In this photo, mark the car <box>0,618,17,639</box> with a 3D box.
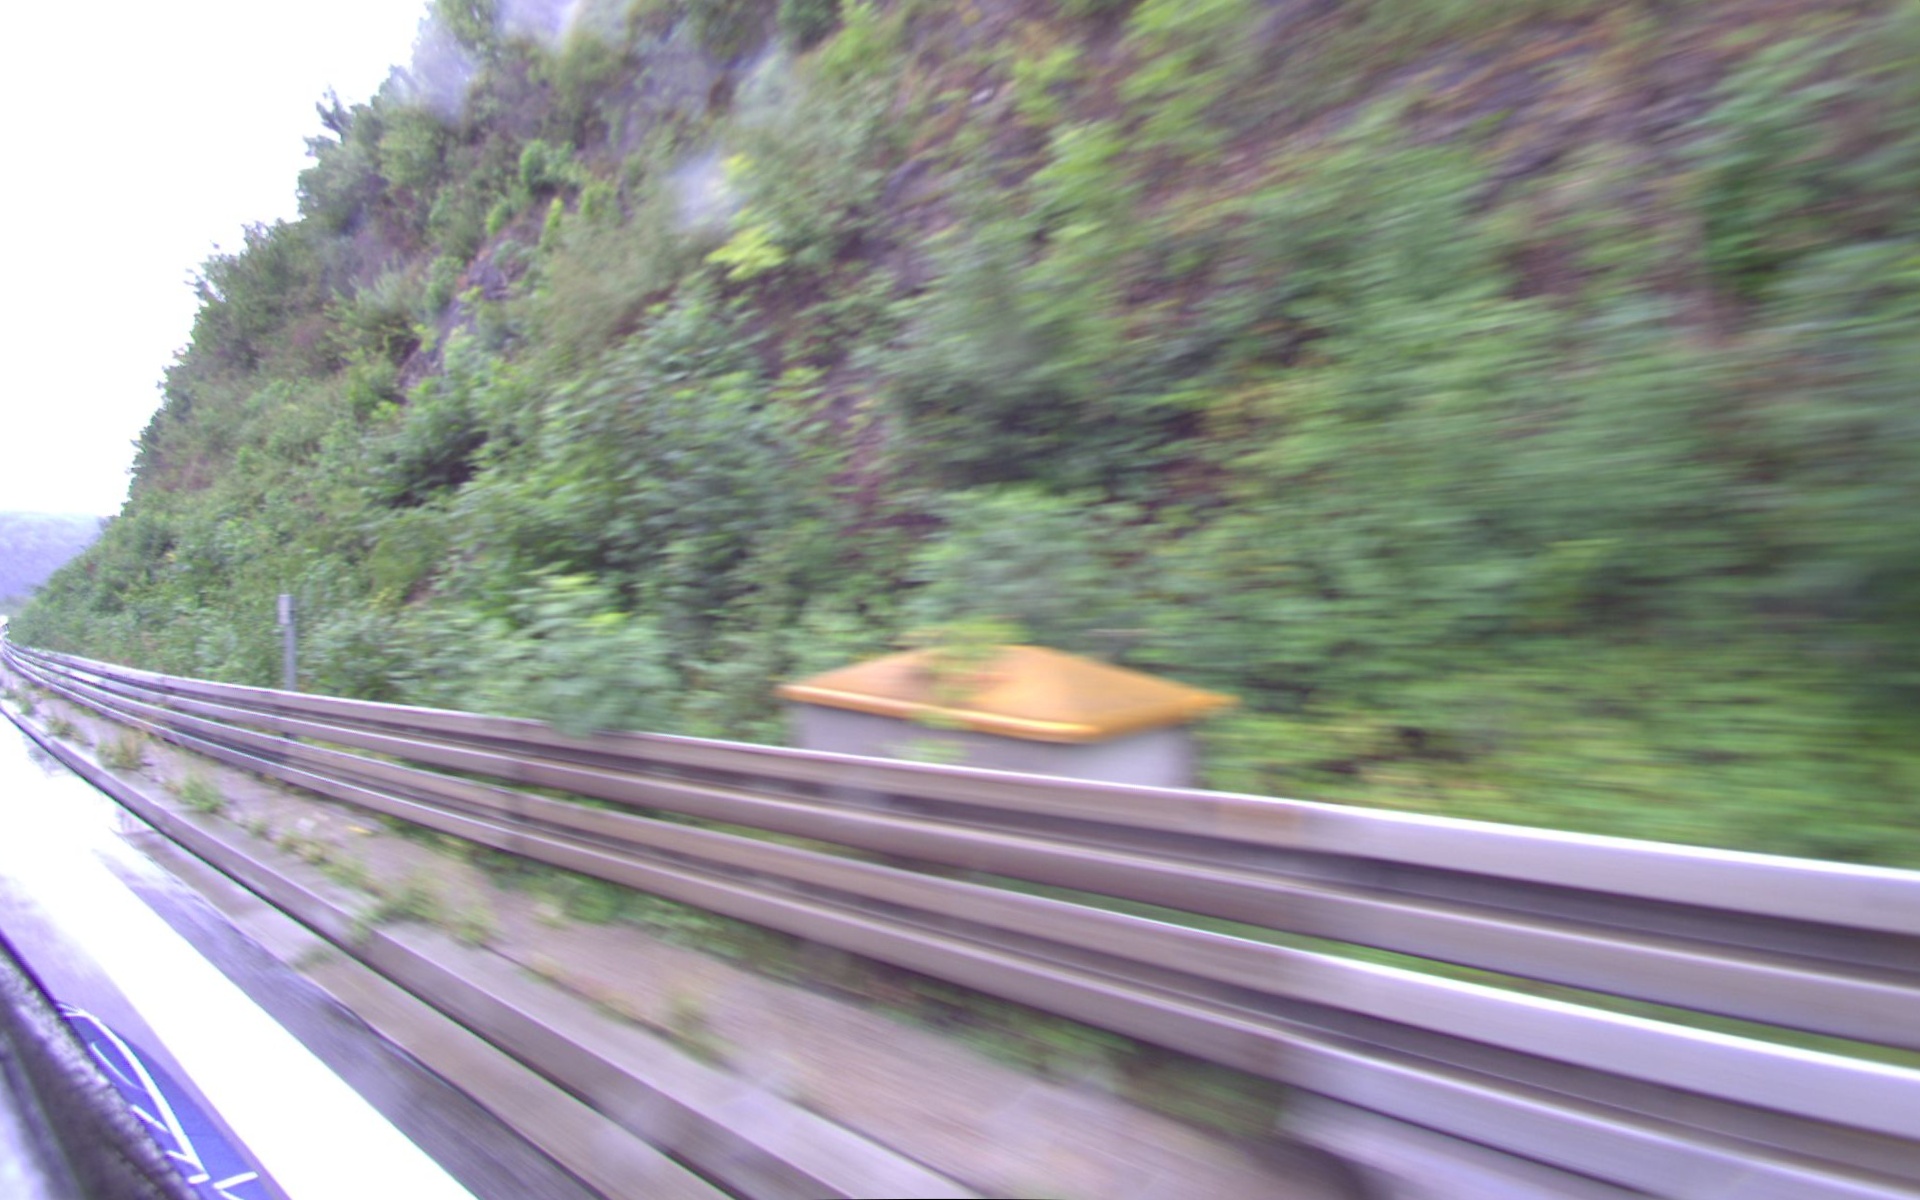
[{"bbox_3d":[-87.757,2.585,92.862,3.755,1.920,1.569,-1,-1,44],"label":"car"}]
